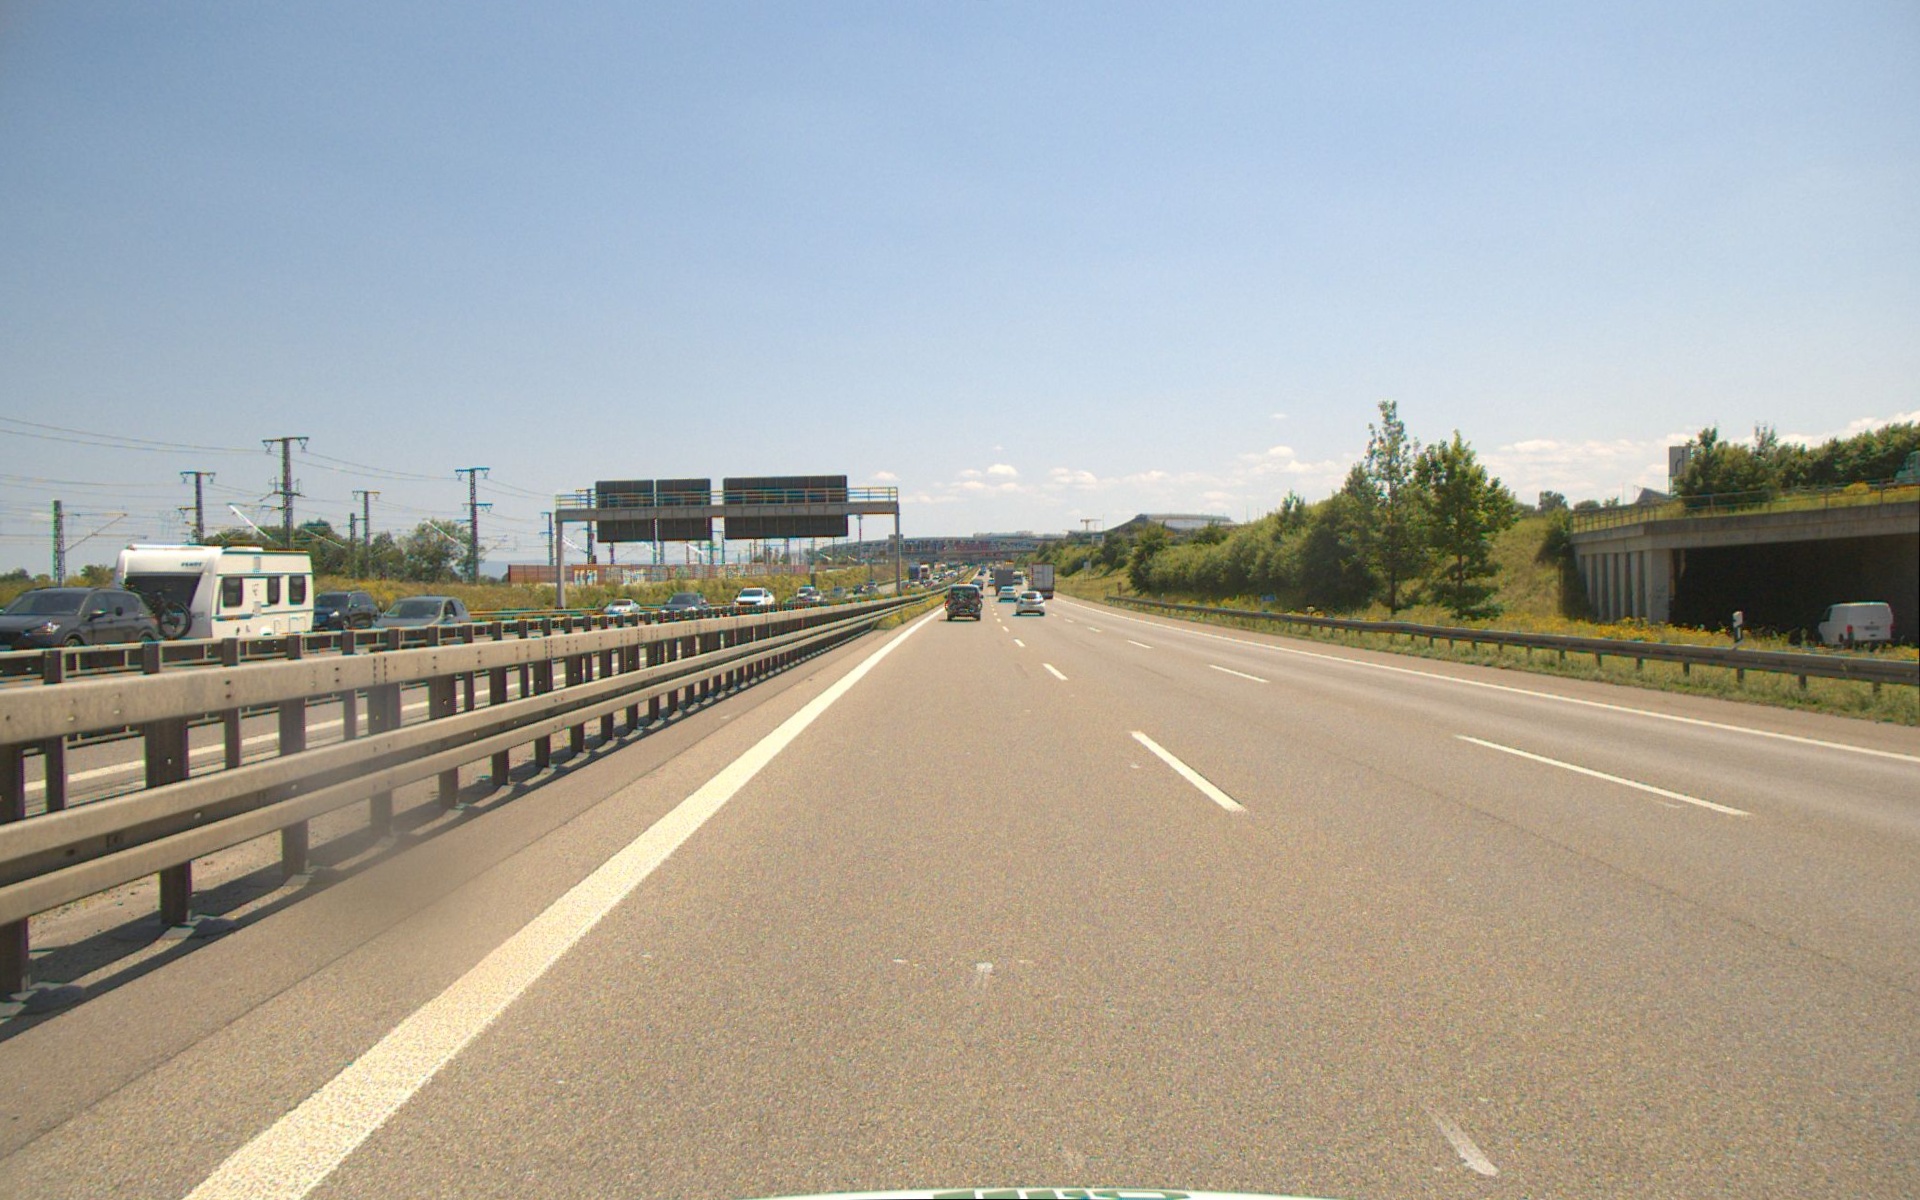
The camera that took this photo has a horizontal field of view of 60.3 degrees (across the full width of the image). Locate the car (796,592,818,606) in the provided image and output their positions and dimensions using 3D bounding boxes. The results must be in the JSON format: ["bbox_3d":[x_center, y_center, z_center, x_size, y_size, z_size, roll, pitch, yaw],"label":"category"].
[{"bbox_3d":[-15.865,-0.091,171.566,1.907,1.370,3.999,0,0,-1],"label":"car"}]

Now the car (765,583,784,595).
[{"bbox_3d":[-22.473,-1.323,200.507,1.907,1.370,3.999,0,0,-1],"label":"car"}]

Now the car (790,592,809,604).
[{"bbox_3d":[-18.446,-0.253,190.254,1.907,1.370,3.999,0,0,-1],"label":"car"}]

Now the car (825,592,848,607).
[{"bbox_3d":[-11.537,-0.033,154.438,1.907,1.370,3.999,0,0,-1],"label":"car"}]

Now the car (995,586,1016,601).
[{"bbox_3d":[4.577,-0.666,165.905,1.942,1.499,3.999,0,-1,-1],"label":"car"}]

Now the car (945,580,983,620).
[{"bbox_3d":[0.174,0.027,85.477,1.887,1.952,4.947,0,-1,0],"label":"car"}]

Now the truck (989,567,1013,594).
[{"bbox_3d":[5.299,-2.451,214.594,2.647,3.163,10.656,0,-1,-1],"label":"truck"}]

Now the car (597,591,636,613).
[{"bbox_3d":[-22.238,0.110,107.128,1.729,1.370,3.999,0,0,-1],"label":"car"}]

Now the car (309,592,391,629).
[{"bbox_3d":[-23.388,0.376,63.555,1.729,1.370,3.999,0,0,-1],"label":"car"}]

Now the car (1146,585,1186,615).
[{"bbox_3d":[13.534,0.018,108.787,1.888,1.952,4.515,0,-1,-3],"label":"car"}]

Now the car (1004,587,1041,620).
[{"bbox_3d":[3.828,0.258,101.393,1.888,1.952,4.515,0,-1,-3],"label":"car"}]

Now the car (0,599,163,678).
[{"bbox_3d":[-17.064,0.681,31.451,1.729,1.370,4.381,0,0,-1],"label":"car"}]

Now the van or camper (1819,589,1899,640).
[{"bbox_3d":[37.493,0.631,69.058,2.110,2.049,4.306,0,-1,17],"label":"van or camper"}]

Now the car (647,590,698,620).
[{"bbox_3d":[-13.370,0.222,77.162,1.729,1.370,3.999,0,0,-1],"label":"car"}]

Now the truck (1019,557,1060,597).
[{"bbox_3d":[9.084,-2.700,190.282,3.957,4.336,11.756,0,2,-1],"label":"truck"}]

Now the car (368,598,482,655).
[{"bbox_3d":[-13.570,0.640,42.158,1.659,1.370,3.999,0,0,-1],"label":"car"}]

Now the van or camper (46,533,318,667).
[{"bbox_3d":[-17.334,-0.020,37.549,2.466,2.712,8.063,0,0,-1],"label":"van or camper"}]

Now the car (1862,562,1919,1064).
[{"bbox_3d":[4.217,0.688,3.407,1.860,1.676,4.996,0,-1,-2],"label":"car"}]

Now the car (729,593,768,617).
[{"bbox_3d":[-12.818,0.286,100.441,1.907,1.370,3.999,0,0,-1],"label":"car"}]
